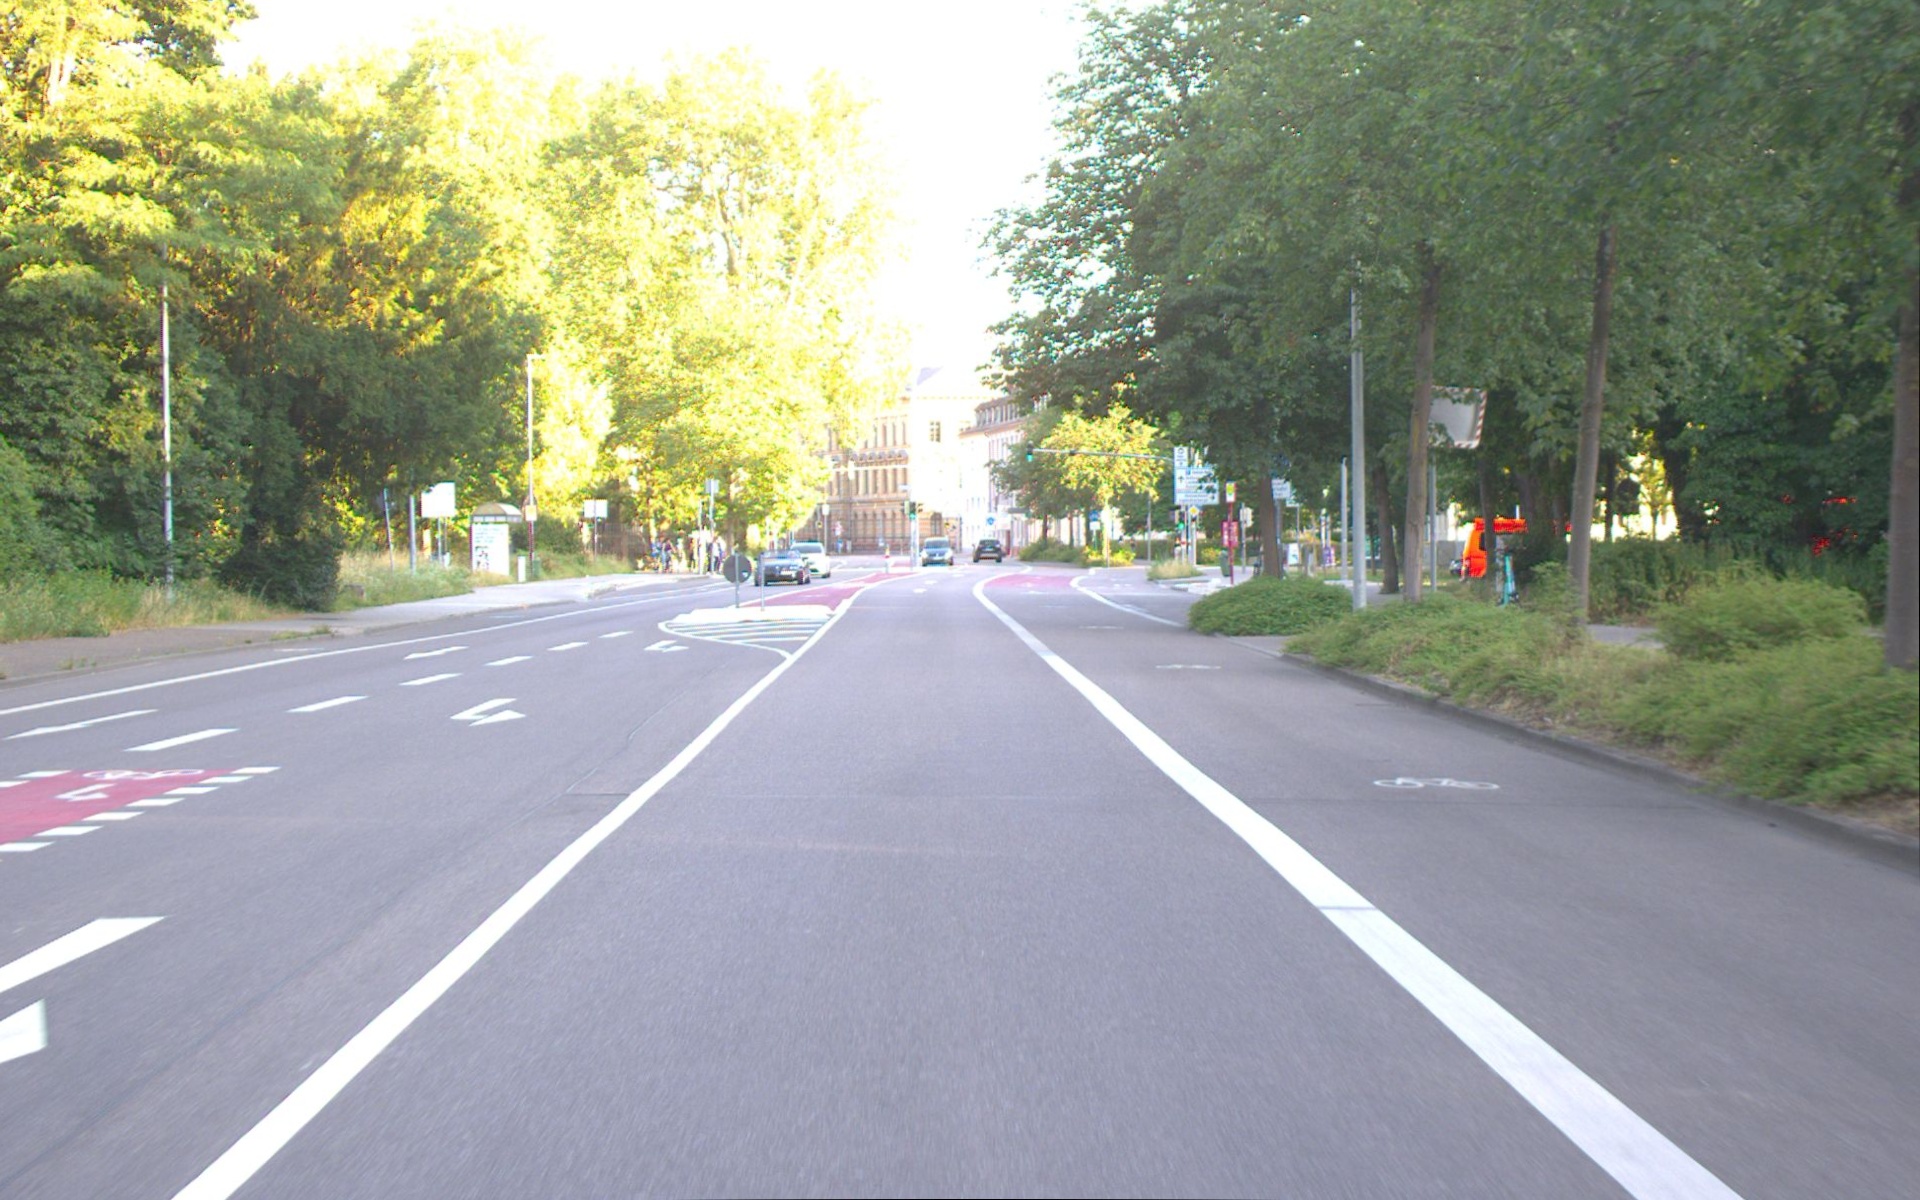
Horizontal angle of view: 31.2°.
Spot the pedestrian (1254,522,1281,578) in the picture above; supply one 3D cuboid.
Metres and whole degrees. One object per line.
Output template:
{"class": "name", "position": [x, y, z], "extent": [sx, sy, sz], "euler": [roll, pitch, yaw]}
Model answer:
{"class": "pedestrian", "position": [9.583, -1.566, 107.269], "extent": [0.769, 1.734, 0.731], "euler": [0, 1, 0]}

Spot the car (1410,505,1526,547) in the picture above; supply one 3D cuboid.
{"class": "car", "position": [19.873, -2.888, 134.593], "extent": [4.460, 1.585, 1.715], "euler": [0, 1, 7]}

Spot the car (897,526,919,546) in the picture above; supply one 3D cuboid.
{"class": "car", "position": [-3.820, -4.696, 253.060], "extent": [1.493, 1.481, 3.491], "euler": [0, 1, 0]}

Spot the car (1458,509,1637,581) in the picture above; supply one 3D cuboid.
{"class": "car", "position": [16.627, -1.564, 97.533], "extent": [4.912, 1.983, 1.921], "euler": [0, 1, 7]}

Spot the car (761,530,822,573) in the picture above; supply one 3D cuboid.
{"class": "car", "position": [-5.912, -1.721, 121.126], "extent": [1.798, 1.448, 4.127], "euler": [0, 1, 2]}

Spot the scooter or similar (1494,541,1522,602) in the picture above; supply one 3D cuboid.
{"class": "scooter or similar", "position": [9.427, -0.493, 59.133], "extent": [0.310, 1.038, 0.980], "euler": [-1, 1, 0]}

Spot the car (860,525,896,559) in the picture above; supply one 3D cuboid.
{"class": "car", "position": [-3.624, -2.574, 152.621], "extent": [1.493, 1.481, 3.491], "euler": [-1, 1, 0]}

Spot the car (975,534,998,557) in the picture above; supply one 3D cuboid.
{"class": "car", "position": [1.705, -3.568, 223.261], "extent": [1.493, 1.481, 3.491], "euler": [0, 1, 0]}

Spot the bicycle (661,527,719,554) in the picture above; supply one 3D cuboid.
{"class": "bicycle", "position": [-11.933, -2.621, 152.031], "extent": [2.463, 1.191, 0.757], "euler": [0, 1, 9]}

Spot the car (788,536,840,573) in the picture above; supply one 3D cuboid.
{"class": "car", "position": [-5.882, -1.859, 139.151], "extent": [1.798, 1.448, 4.127], "euler": [0, 1, 2]}

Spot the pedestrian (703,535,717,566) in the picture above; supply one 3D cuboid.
{"class": "pedestrian", "position": [-11.387, -2.253, 156.412], "extent": [0.579, 1.425, 0.560], "euler": [1, 1, -9]}

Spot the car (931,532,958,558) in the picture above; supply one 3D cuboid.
{"class": "car", "position": [-0.899, -3.181, 198.067], "extent": [1.493, 1.481, 3.491], "euler": [0, 1, 0]}

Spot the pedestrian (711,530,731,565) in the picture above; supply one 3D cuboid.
{"class": "pedestrian", "position": [-11.068, -2.427, 159.193], "extent": [0.791, 1.575, 0.745], "euler": [1, 1, 9]}

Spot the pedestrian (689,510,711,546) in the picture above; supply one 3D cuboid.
{"class": "pedestrian", "position": [-11.505, -3.195, 151.951], "extent": [0.791, 1.575, 0.745], "euler": [1, 1, 9]}
